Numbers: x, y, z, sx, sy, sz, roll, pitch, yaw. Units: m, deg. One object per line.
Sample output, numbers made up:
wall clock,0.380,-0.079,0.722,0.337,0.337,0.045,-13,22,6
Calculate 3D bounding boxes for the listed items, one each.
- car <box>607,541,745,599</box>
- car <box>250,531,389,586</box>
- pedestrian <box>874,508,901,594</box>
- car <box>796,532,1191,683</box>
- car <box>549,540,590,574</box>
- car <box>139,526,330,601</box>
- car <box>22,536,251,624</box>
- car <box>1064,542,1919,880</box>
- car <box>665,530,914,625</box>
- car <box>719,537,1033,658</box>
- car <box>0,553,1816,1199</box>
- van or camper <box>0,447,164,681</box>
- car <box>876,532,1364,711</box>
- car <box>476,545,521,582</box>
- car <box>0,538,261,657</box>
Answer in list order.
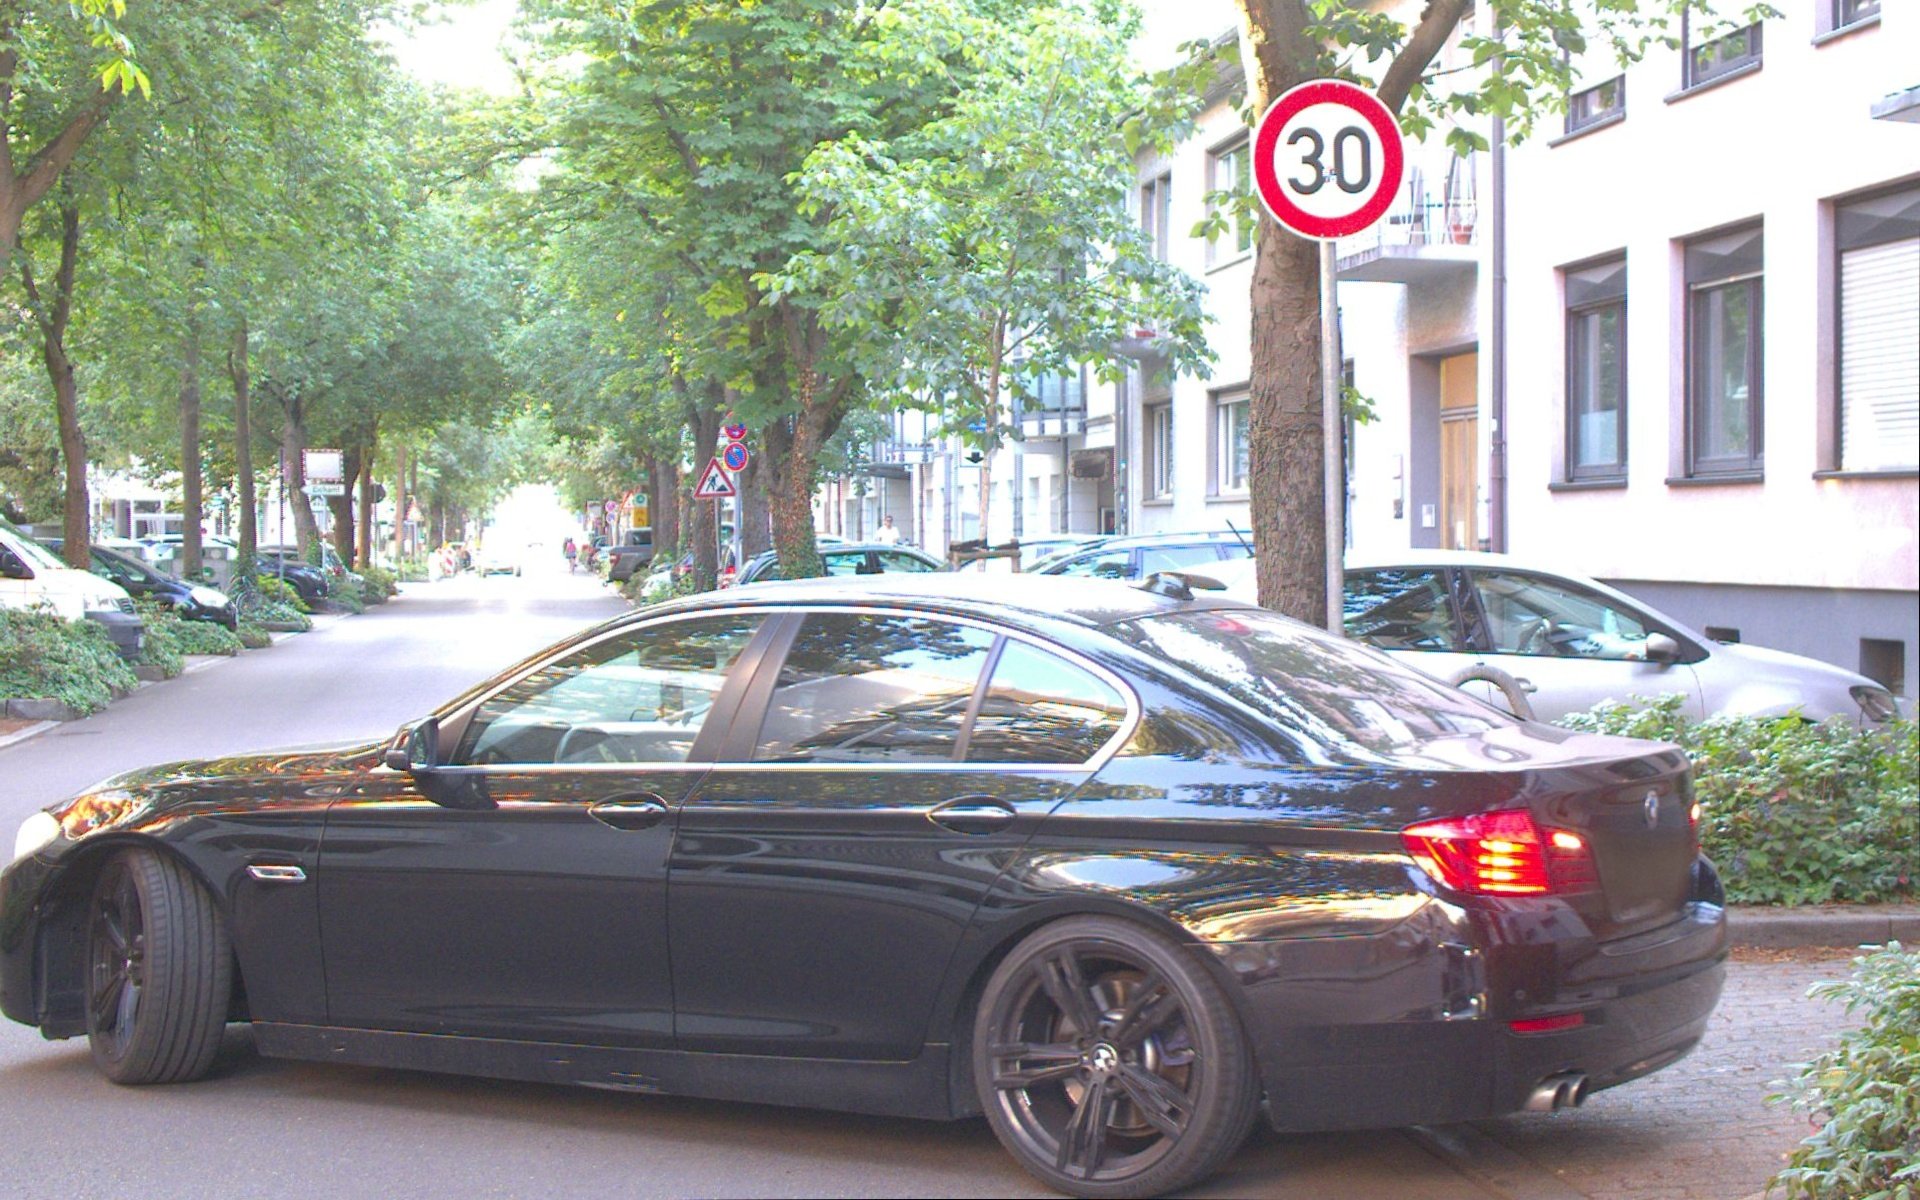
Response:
car,-8.349,-0.894,101.004,3.967,1.678,1.785,0,1,-5
car,-19.189,-1.263,103.109,3.967,1.614,1.785,0,1,-5
pedestrian,-1.706,-1.152,80.589,0.589,2.007,0.669,0,1,-5
car,0.318,0.058,36.377,3.967,1.522,1.785,0,1,-7
car,-18.232,-2.020,160.596,1.822,1.525,4.001,-1,1,-6
car,-16.086,-0.823,76.400,3.967,1.614,1.785,0,1,-5
car,-15.463,-0.393,64.737,3.967,1.614,1.785,0,1,-5
car,2.567,0.473,16.304,3.908,1.471,1.665,-1,1,-8
car,-2.848,-0.387,57.052,3.967,1.522,1.785,-1,1,-8
car,-1.133,-0.055,45.188,3.967,1.522,1.785,0,1,-7
car,-0.321,0.618,9.173,4.753,1.475,1.797,0,1,29
van or camper,-11.130,-0.392,37.273,4.662,2.470,2.000,0,1,-7
car,1.351,0.157,29.921,3.967,1.471,1.785,-1,1,-8
car,-19.835,-1.588,147.907,1.779,1.557,4.169,0,1,-6
car,-11.926,-0.047,48.272,3.967,1.614,1.785,0,1,-6
